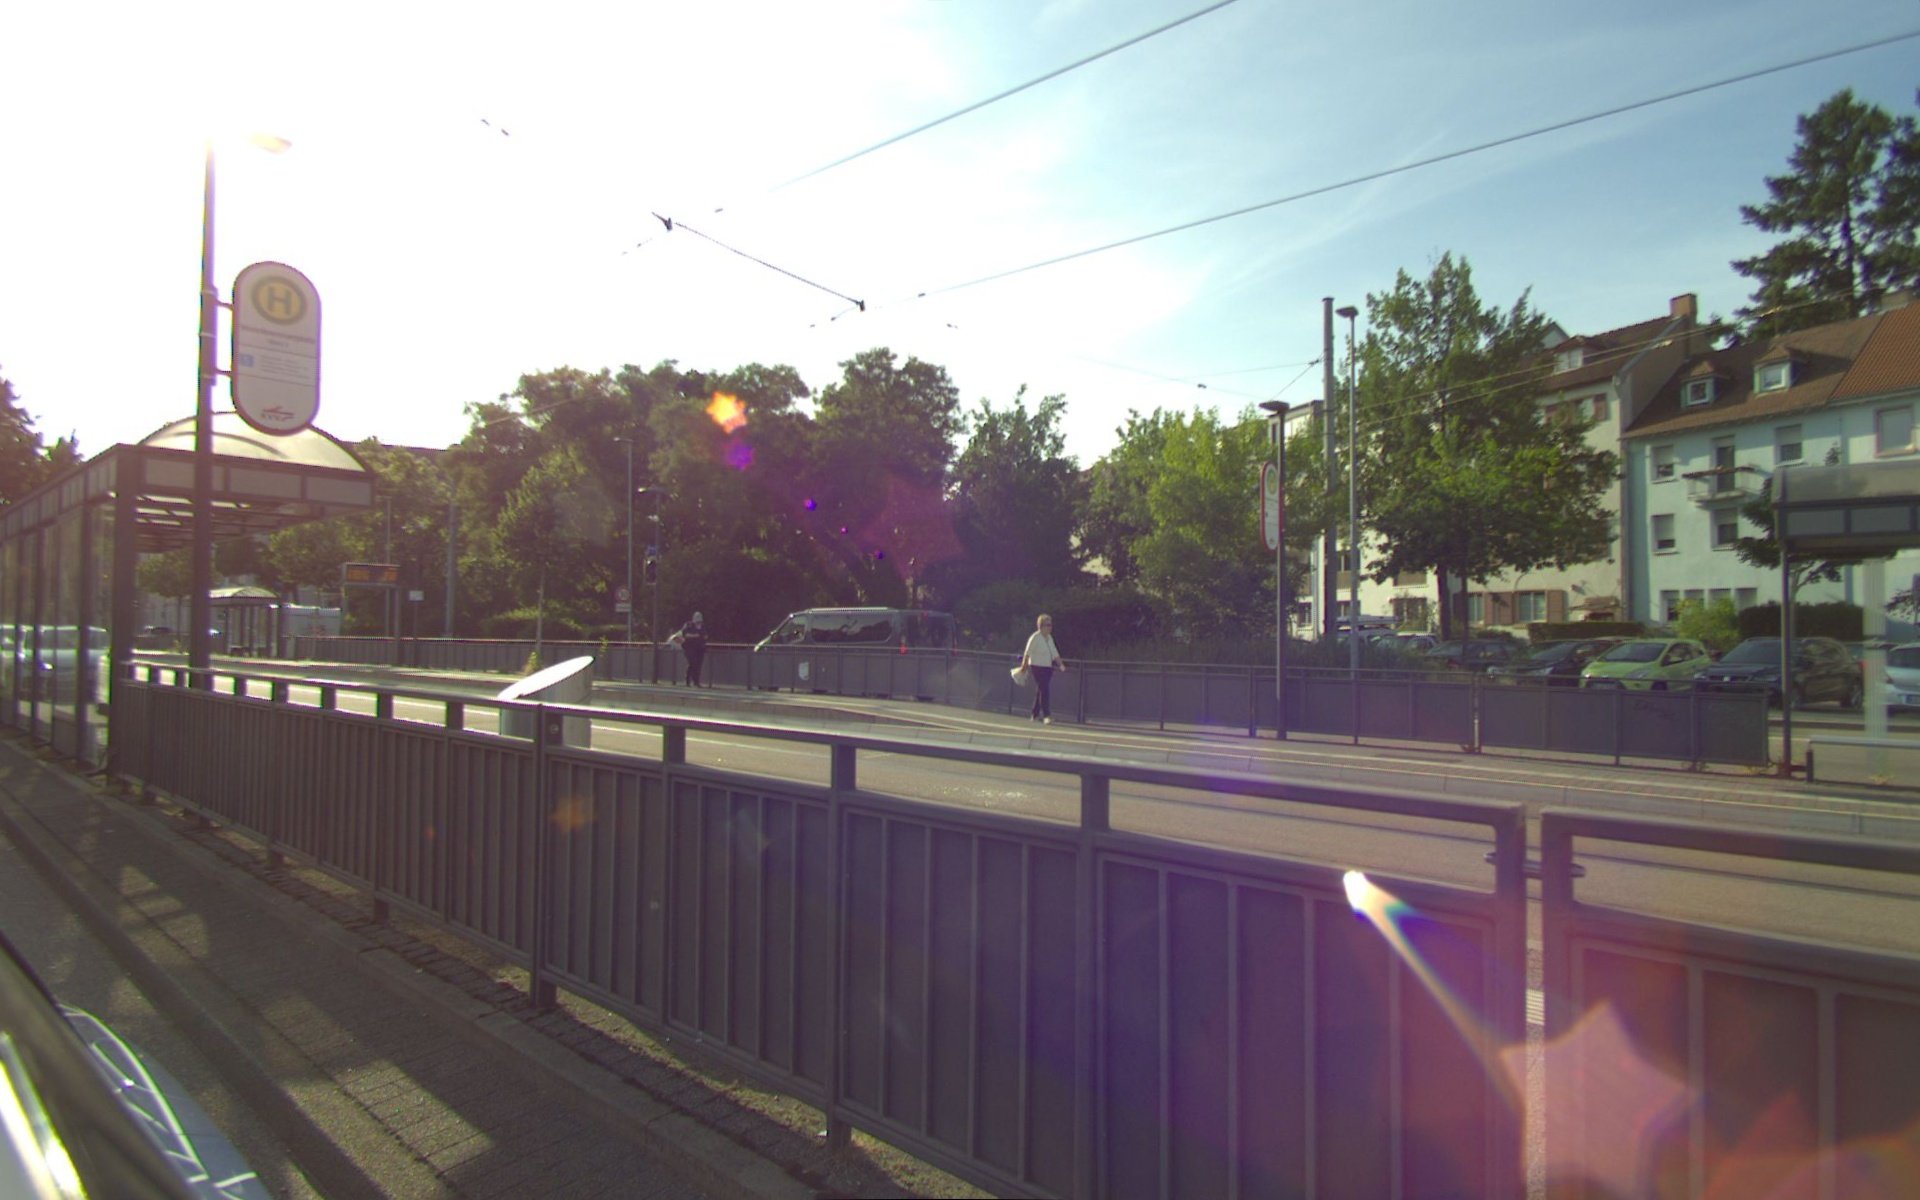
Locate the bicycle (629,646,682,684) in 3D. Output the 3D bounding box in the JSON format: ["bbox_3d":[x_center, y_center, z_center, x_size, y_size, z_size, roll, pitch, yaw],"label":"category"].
[{"bbox_3d":[-9.687,2.042,32.150,1.864,1.118,0.718,-2,-1,42],"label":"bicycle"}]

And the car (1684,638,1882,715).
[{"bbox_3d":[17.027,1.525,20.926,3.931,1.439,1.778,2,-3,-28],"label":"car"}]

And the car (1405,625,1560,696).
[{"bbox_3d":[14.019,1.594,27.107,3.931,1.767,1.860,2,-3,-30],"label":"car"}]

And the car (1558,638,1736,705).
[{"bbox_3d":[15.946,1.607,23.479,3.931,1.439,1.778,2,-3,-28],"label":"car"}]

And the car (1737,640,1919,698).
[{"bbox_3d":[23.808,1.817,27.566,1.523,1.437,3.877,1,-2,-26],"label":"car"}]

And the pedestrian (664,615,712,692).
[{"bbox_3d":[-5.920,1.150,22.004,0.689,1.640,0.727,-2,-3,41],"label":"pedestrian"}]

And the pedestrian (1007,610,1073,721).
[{"bbox_3d":[1.218,0.983,15.401,0.727,1.640,0.699,-2,-3,41],"label":"pedestrian"}]

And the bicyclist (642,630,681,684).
[{"bbox_3d":[-9.404,1.774,31.888,1.072,1.636,0.697,-2,-1,43],"label":"bicyclist"}]

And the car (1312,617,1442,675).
[{"bbox_3d":[13.429,1.474,32.564,3.931,1.767,1.860,2,-3,-30],"label":"car"}]

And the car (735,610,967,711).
[{"bbox_3d":[-2.566,1.297,22.797,5.384,2.029,2.123,-2,-3,41],"label":"car"}]

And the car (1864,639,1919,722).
[{"bbox_3d":[18.527,1.440,18.444,3.931,1.439,1.778,2,-3,-28],"label":"car"}]

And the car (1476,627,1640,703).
[{"bbox_3d":[15.041,1.597,25.423,3.931,1.767,1.860,2,-3,-30],"label":"car"}]

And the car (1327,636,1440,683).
[{"bbox_3d":[17.072,2.361,40.972,1.786,1.814,4.013,2,-3,-26],"label":"car"}]
